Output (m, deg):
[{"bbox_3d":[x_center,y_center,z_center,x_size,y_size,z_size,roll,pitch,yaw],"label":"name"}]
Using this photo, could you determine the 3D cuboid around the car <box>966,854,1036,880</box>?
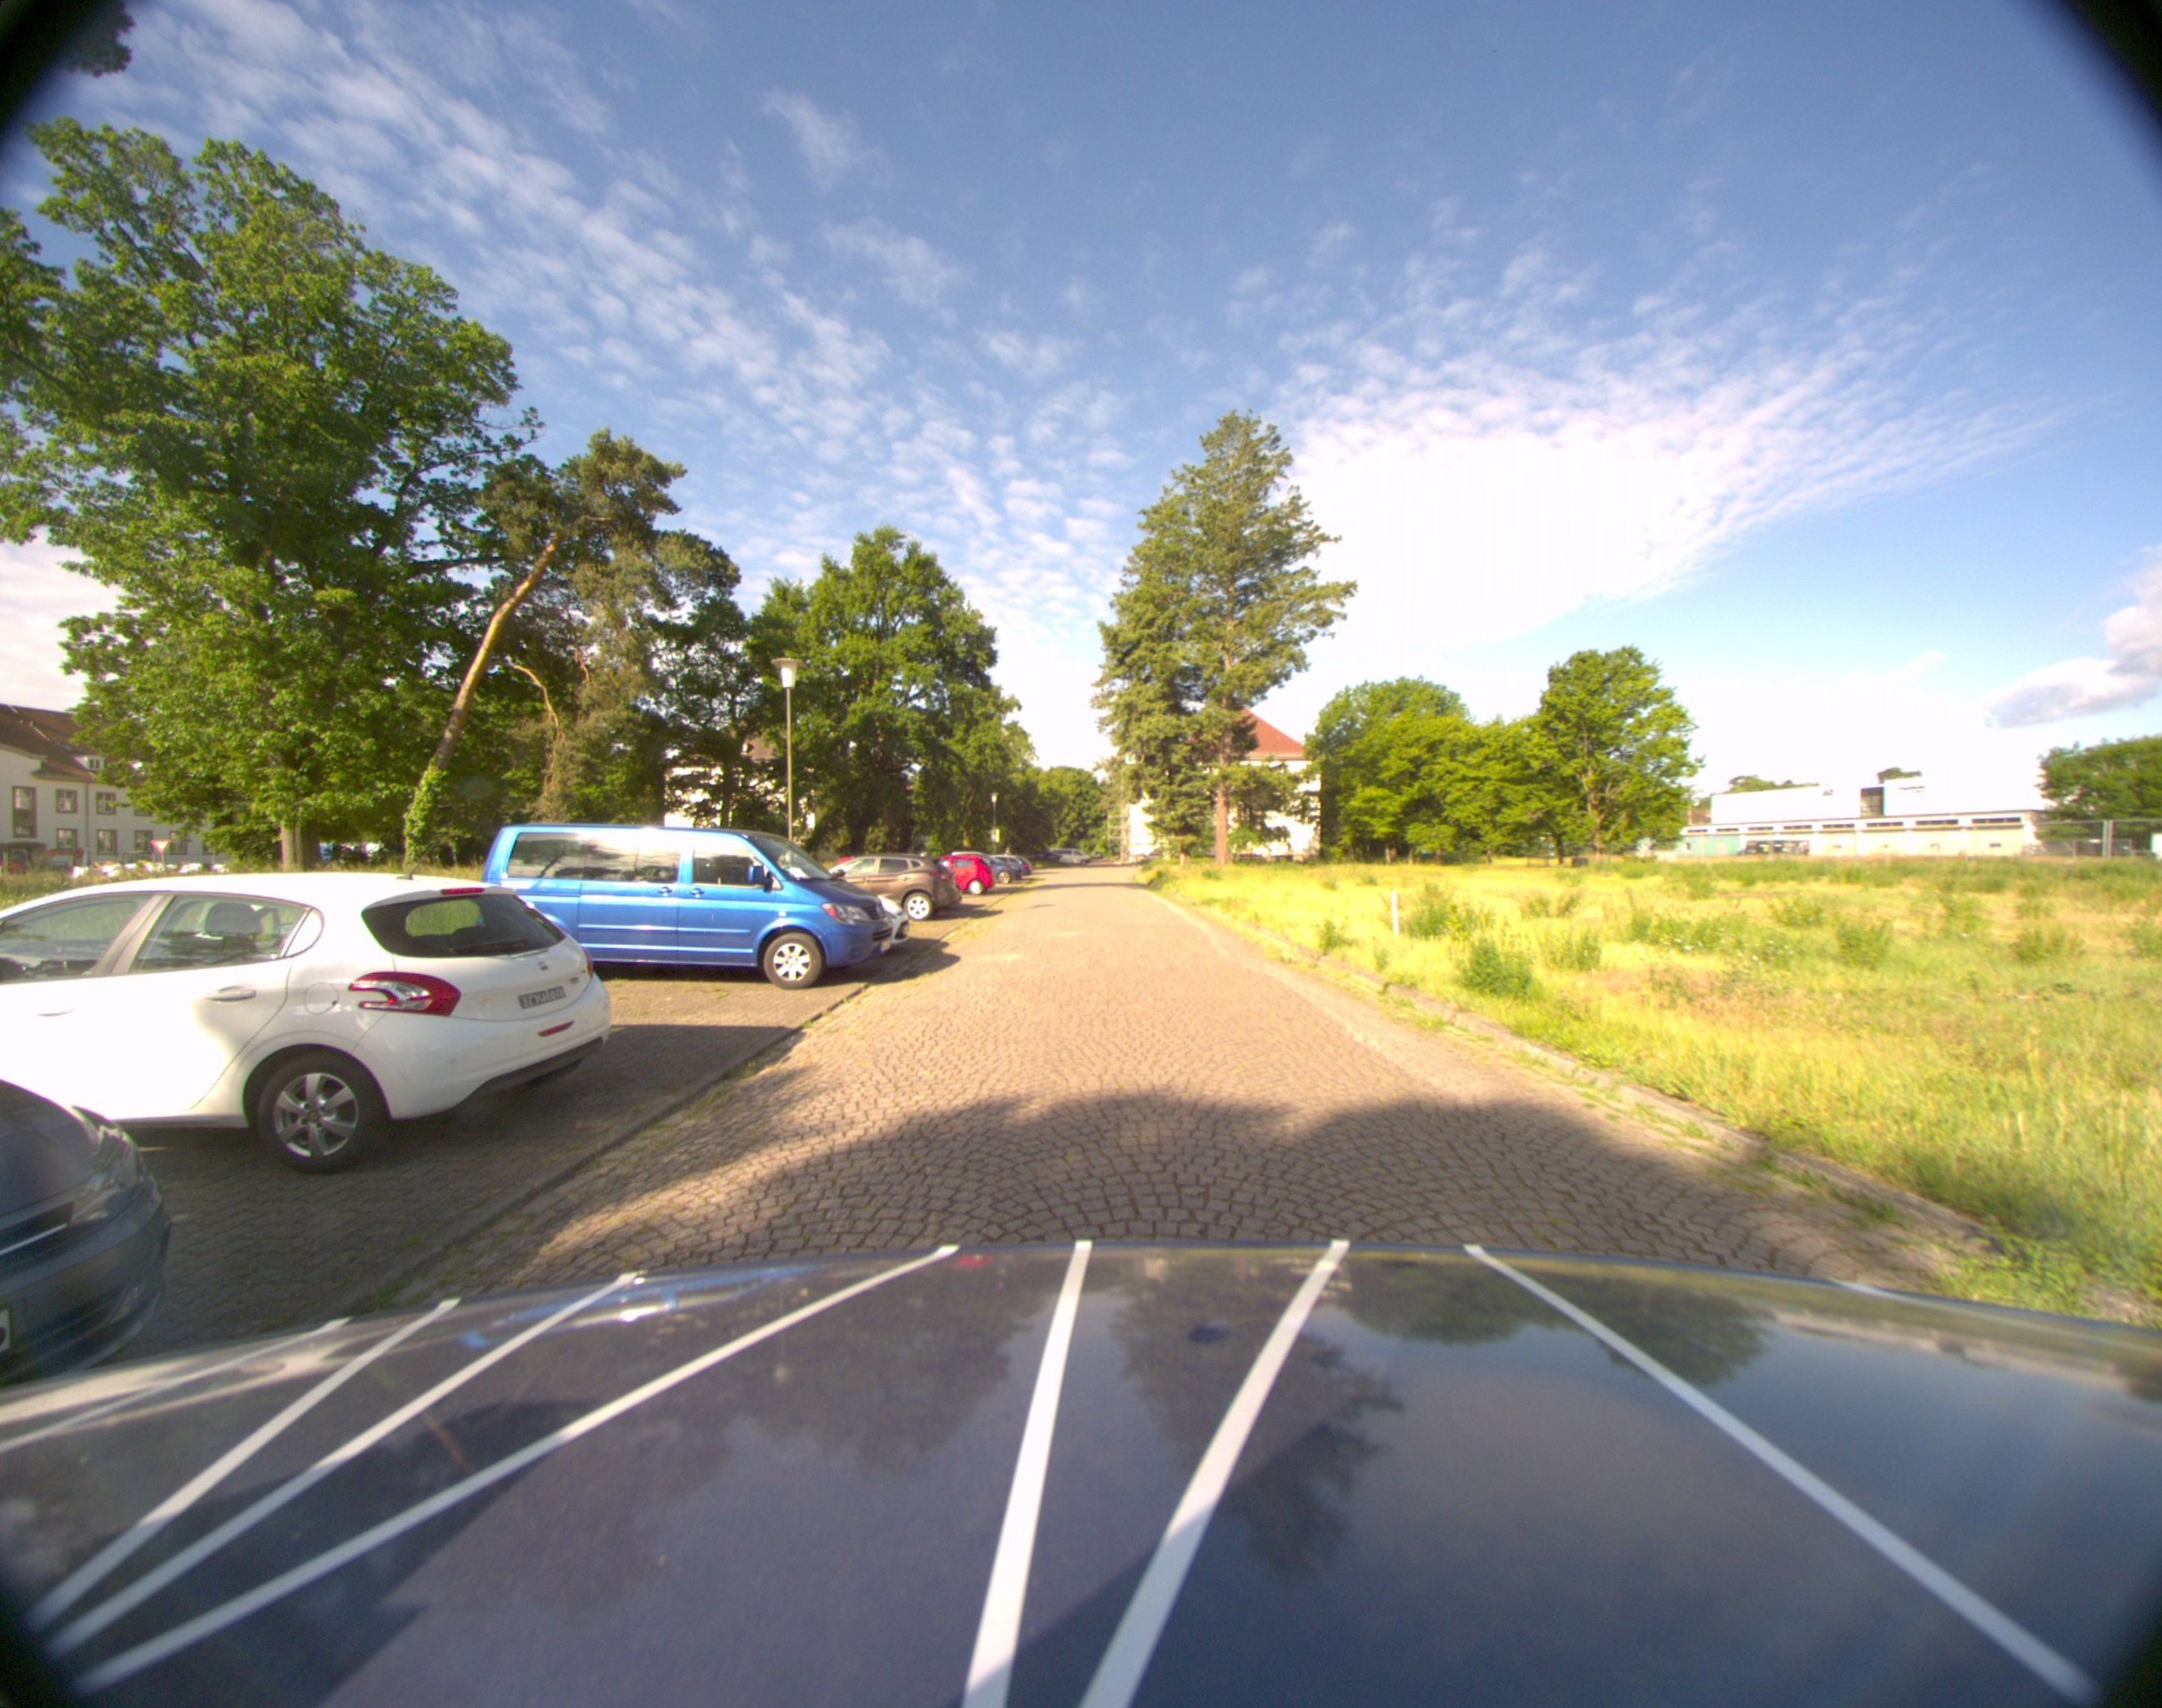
[{"bbox_3d":[-4.600,0.738,44.018,3.809,1.458,1.747,-1,1,1],"label":"car"}]

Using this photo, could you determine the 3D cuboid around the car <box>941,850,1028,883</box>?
[{"bbox_3d":[-4.916,0.646,39.208,4.273,1.589,1.651,-1,1,-1],"label":"car"}]

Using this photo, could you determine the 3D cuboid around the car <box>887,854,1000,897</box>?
[{"bbox_3d":[-5.167,0.795,28.920,3.997,1.487,1.540,-1,1,-1],"label":"car"}]

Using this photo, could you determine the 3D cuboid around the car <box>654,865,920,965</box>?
[{"bbox_3d":[-4.665,0.957,12.444,3.730,1.458,1.609,1,1,-2],"label":"car"}]

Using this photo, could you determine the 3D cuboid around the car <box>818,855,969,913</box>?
[{"bbox_3d":[-5.214,0.821,21.458,3.835,1.530,1.703,0,1,0],"label":"car"}]

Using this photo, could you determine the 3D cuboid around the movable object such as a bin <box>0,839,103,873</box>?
[{"bbox_3d":[-90.184,0.122,66.569,2.178,2.884,5.075,0,1,7],"label":"movable object such as a bin"}]

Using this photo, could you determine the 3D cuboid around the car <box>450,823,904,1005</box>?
[{"bbox_3d":[-4.920,0.687,9.812,4.766,2.002,2.000,1,1,0],"label":"car"}]

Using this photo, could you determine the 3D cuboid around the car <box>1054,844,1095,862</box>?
[{"bbox_3d":[-0.803,-0.105,92.782,4.994,2.123,2.164,-1,1,-2],"label":"car"}]

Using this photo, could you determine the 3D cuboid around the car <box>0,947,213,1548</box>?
[{"bbox_3d":[-4.612,1.002,1.515,3.790,1.442,1.757,1,1,1],"label":"car"}]

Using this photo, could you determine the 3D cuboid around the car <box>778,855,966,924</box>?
[{"bbox_3d":[-5.010,0.829,18.657,4.118,1.602,1.786,0,1,-2],"label":"car"}]

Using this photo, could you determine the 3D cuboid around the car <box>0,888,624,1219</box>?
[{"bbox_3d":[-5.005,0.996,4.437,3.654,1.483,1.634,0,1,0],"label":"car"}]
